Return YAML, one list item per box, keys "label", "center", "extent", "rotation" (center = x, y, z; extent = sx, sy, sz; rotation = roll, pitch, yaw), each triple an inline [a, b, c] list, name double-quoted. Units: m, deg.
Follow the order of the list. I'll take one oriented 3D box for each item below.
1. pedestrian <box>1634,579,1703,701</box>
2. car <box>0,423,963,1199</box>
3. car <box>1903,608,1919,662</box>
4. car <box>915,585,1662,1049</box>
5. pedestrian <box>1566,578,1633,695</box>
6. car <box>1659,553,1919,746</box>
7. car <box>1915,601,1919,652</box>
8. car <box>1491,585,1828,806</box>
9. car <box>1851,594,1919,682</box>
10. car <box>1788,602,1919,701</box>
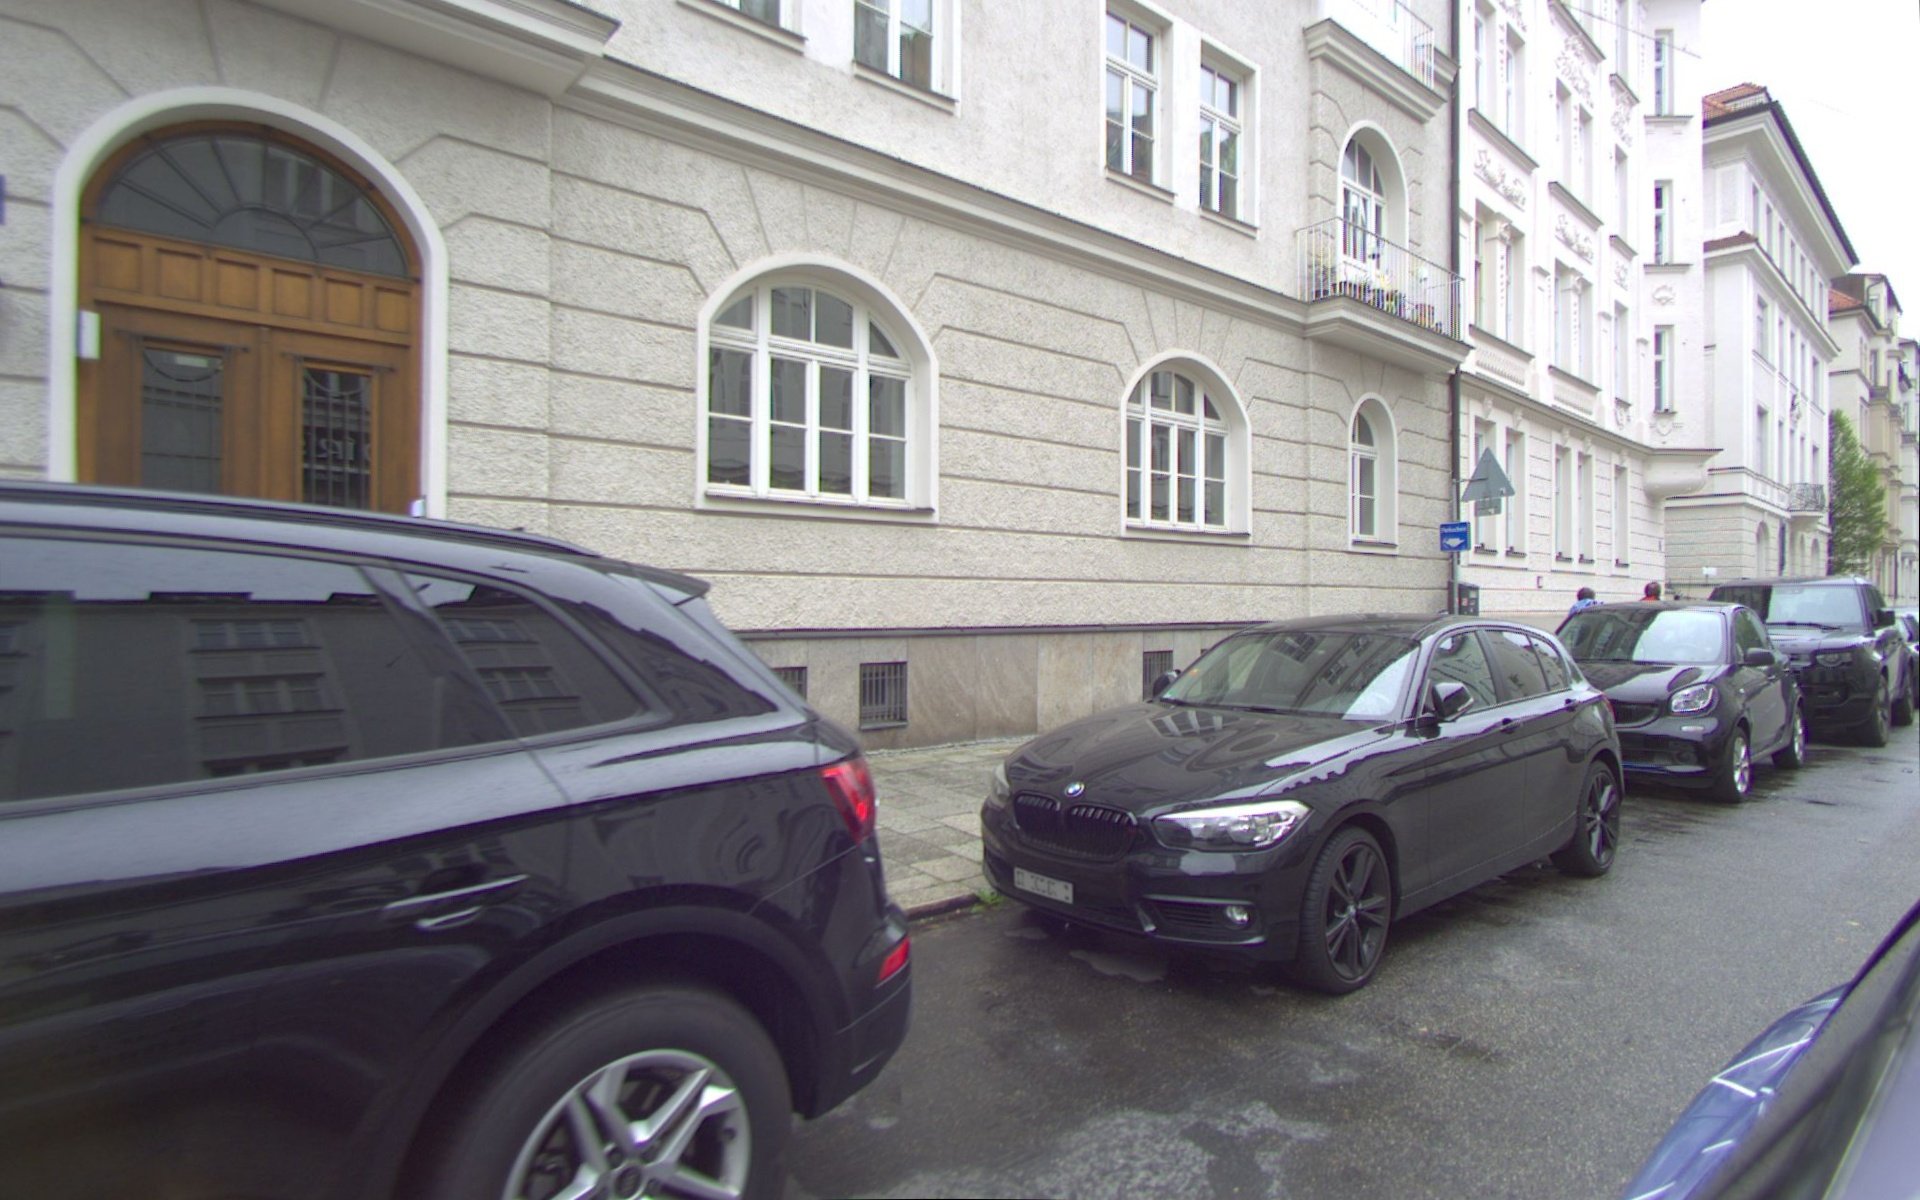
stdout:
- label: "pedestrian"
  center: [10.531, 0.568, 15.035]
  extent: [0.692, 1.750, 0.703]
  rotation: [1, 0, -44]
- label: "car"
  center: [-2.210, 0.608, 1.670]
  extent: [4.296, 1.657, 1.781]
  rotation: [0, -1, -39]
- label: "car"
  center: [26.986, 0.911, 27.588]
  extent: [3.933, 1.413, 1.613]
  rotation: [0, -1, -43]
- label: "car"
  center: [1.933, 0.702, 5.231]
  extent: [4.125, 1.489, 1.710]
  rotation: [0, 0, -39]
- label: "pedestrian"
  center: [9.701, 0.534, 15.351]
  extent: [0.643, 1.695, 0.680]
  rotation: [1, 2, -44]
- label: "car"
  center: [10.298, 0.524, 12.321]
  extent: [4.633, 1.909, 1.913]
  rotation: [0, -2, -42]
- label: "car"
  center: [30.773, 0.789, 31.301]
  extent: [1.708, 1.520, 3.935]
  rotation: [-1, -1, 45]
- label: "car"
  center: [6.255, 0.681, 8.912]
  extent: [3.574, 1.545, 1.657]
  rotation: [1, -1, -42]
- label: "car"
  center: [18.893, 0.707, 19.926]
  extent: [3.934, 1.608, 1.708]
  rotation: [1, -2, -44]
- label: "car"
  center: [14.767, 0.757, 16.229]
  extent: [3.518, 1.413, 1.666]
  rotation: [0, -2, -40]
